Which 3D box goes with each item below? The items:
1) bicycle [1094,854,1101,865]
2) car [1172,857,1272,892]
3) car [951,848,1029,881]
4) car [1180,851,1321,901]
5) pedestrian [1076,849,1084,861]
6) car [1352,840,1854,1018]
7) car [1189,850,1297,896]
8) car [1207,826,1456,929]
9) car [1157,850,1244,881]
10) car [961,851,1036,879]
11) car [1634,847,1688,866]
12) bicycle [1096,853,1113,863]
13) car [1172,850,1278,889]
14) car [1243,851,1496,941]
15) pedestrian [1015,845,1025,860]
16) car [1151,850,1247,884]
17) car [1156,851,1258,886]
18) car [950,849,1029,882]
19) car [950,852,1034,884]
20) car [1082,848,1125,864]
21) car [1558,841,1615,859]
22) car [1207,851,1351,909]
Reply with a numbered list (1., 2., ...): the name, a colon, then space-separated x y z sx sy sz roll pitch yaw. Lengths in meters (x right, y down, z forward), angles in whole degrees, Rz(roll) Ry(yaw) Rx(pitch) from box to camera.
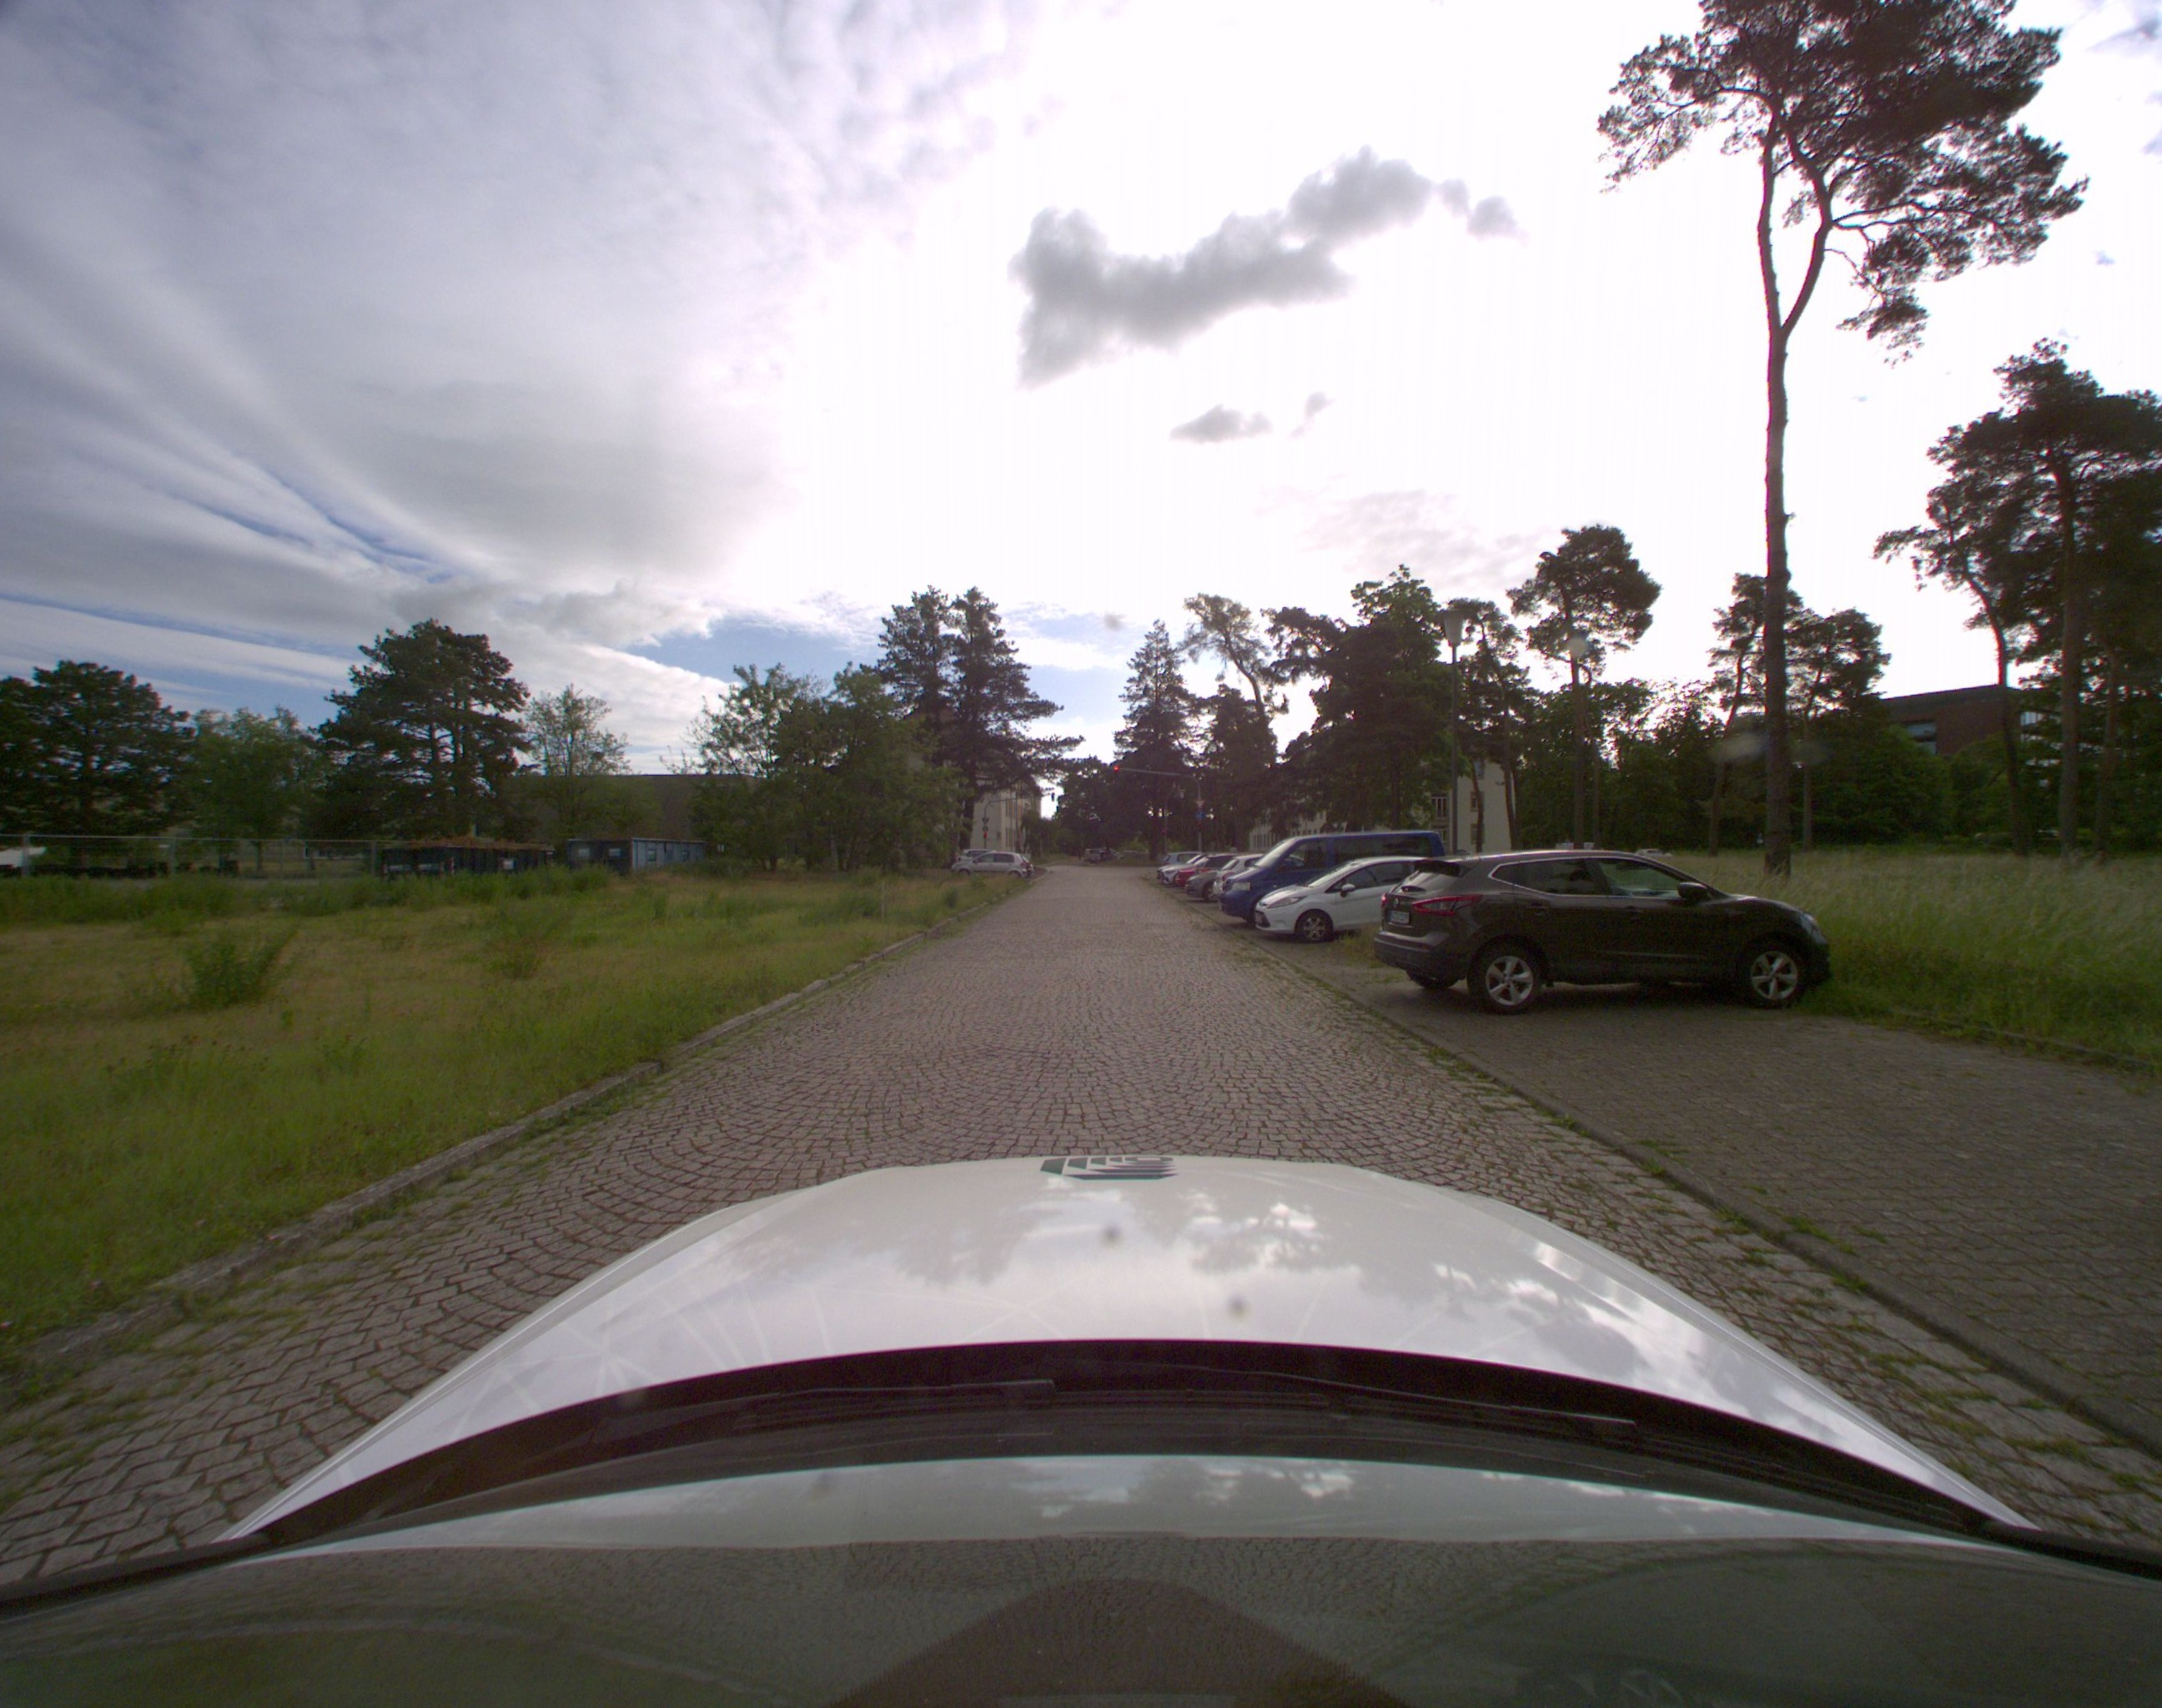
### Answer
1. bicycle: 1.816 0.625 88.900 0.660 1.171 1.888 1 0 1
2. car: 5.380 0.783 31.380 3.573 1.223 1.629 -1 0 1
3. car: -5.081 0.568 45.903 4.290 1.732 1.650 -1 0 -5
4. car: 5.318 0.679 25.887 4.116 1.447 1.766 -1 0 1
5. pedestrian: -0.215 0.117 138.290 1.237 1.959 1.119 1 0 -5
6. car: 5.347 0.703 8.771 4.192 1.595 1.952 -1 0 -2
7. car: 5.662 0.655 28.754 3.494 1.487 1.743 -1 0 0
8. car: 5.297 0.476 17.673 4.782 2.004 1.965 -1 0 -2
9. car: 6.042 0.555 41.404 4.128 1.463 1.631 -1 0 -5
10. car: -4.855 0.624 48.357 4.291 1.554 1.809 -1 0 -6
11. car: 59.497 0.257 83.612 4.117 1.804 1.901 1 0 2
12. bicycle: 2.792 0.499 97.029 1.878 1.171 0.664 1 0 -5
13. car: 5.914 0.628 33.721 4.093 1.476 1.684 -1 0 -1
14. car: 5.238 0.728 15.128 4.087 1.478 1.720 -1 0 -3
15. pedestrian: -7.952 -0.211 106.068 1.070 1.959 1.121 1 0 1
16. car: 5.600 0.585 38.851 4.229 1.479 1.704 -1 0 -10
17. car: 5.539 0.625 36.084 4.181 1.437 1.751 -1 0 -7
18. car: -4.498 0.569 40.500 3.711 1.481 1.672 2 0 -3
19. car: -4.689 0.714 43.097 4.291 1.554 1.809 -1 0 -6
20. car: 3.035 0.276 108.337 5.379 2.101 2.170 0 0 -12
21. car: 58.498 -0.454 94.349 5.281 2.019 2.106 1 0 1
22. car: 5.511 0.696 22.981 3.641 1.478 1.766 -1 0 0
